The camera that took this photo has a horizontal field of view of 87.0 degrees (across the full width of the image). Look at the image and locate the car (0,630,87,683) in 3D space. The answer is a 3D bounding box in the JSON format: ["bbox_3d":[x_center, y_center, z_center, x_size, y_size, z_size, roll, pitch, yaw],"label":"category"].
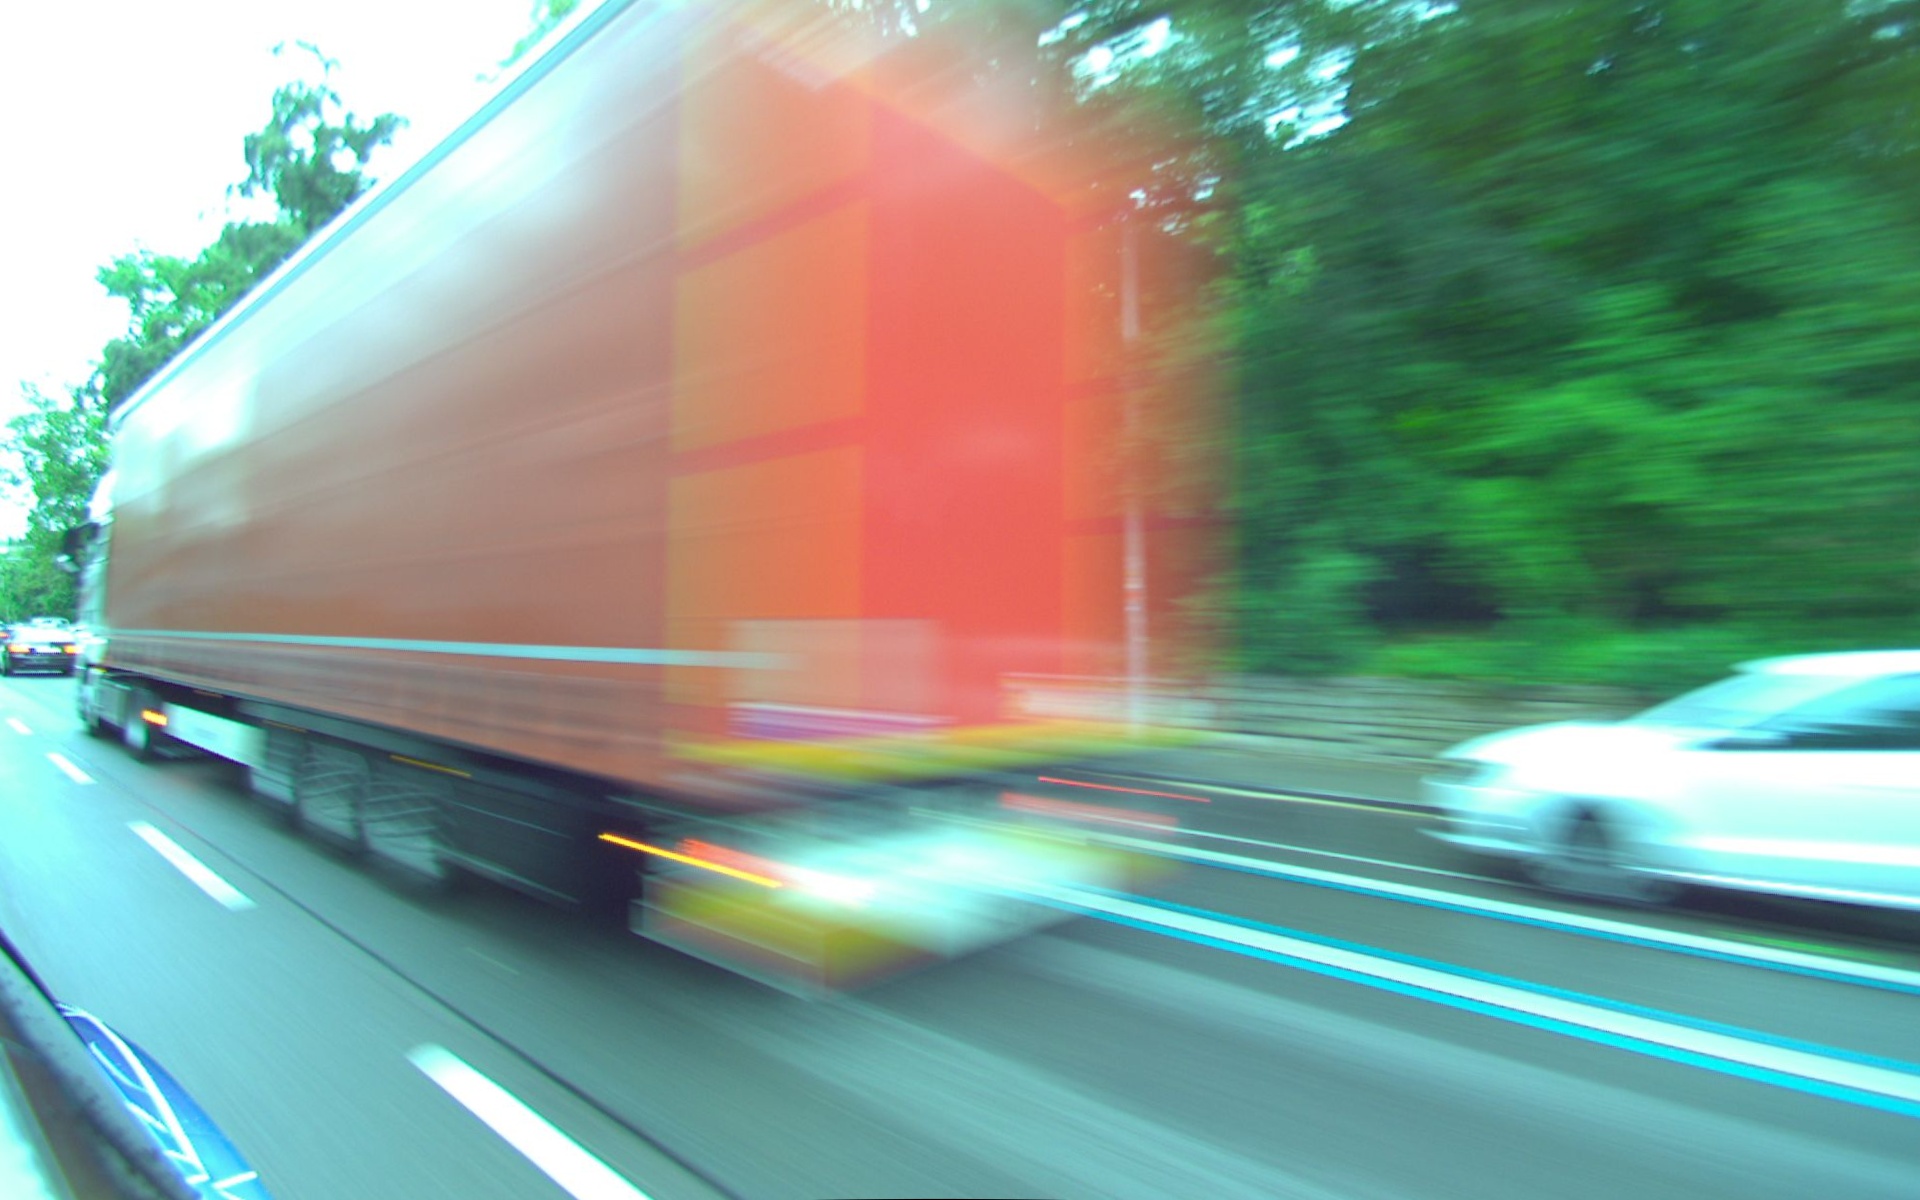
[{"bbox_3d":[-27.774,1.660,30.342,4.620,1.468,1.894,-2,-4,43],"label":"car"}]

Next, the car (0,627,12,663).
[{"bbox_3d":[-45.517,2.057,46.918,4.466,1.629,1.939,-2,-4,43],"label":"car"}]

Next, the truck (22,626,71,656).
[{"bbox_3d":[-64.541,2.875,71.488,5.158,2.029,2.070,-2,-2,42],"label":"truck"}]

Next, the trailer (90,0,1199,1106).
[{"bbox_3d":[-4.394,-0.524,8.315,12.769,4.292,2.658,-2,-4,43],"label":"trailer"}]

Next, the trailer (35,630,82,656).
[{"bbox_3d":[-60.423,2.864,67.888,1.330,1.670,2.270,0,-1,-9],"label":"trailer"}]

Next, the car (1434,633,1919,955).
[{"bbox_3d":[4.964,0.932,5.503,3.980,1.493,1.770,-2,-3,41],"label":"car"}]

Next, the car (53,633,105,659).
[{"bbox_3d":[-51.927,2.671,59.626,4.355,1.446,1.736,-2,-3,42],"label":"car"}]

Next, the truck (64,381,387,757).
[{"bbox_3d":[-9.945,-0.249,13.553,4.917,4.077,2.490,-2,-4,44],"label":"truck"}]

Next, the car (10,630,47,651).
[{"bbox_3d":[-72.033,3.091,78.234,4.753,1.509,1.787,-1,-2,43],"label":"car"}]

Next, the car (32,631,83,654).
[{"bbox_3d":[-57.065,2.686,63.977,4.442,1.409,1.803,-2,-2,40],"label":"car"}]

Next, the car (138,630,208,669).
[{"bbox_3d":[-31.492,1.963,40.454,4.028,1.416,1.671,-2,-1,44],"label":"car"}]
